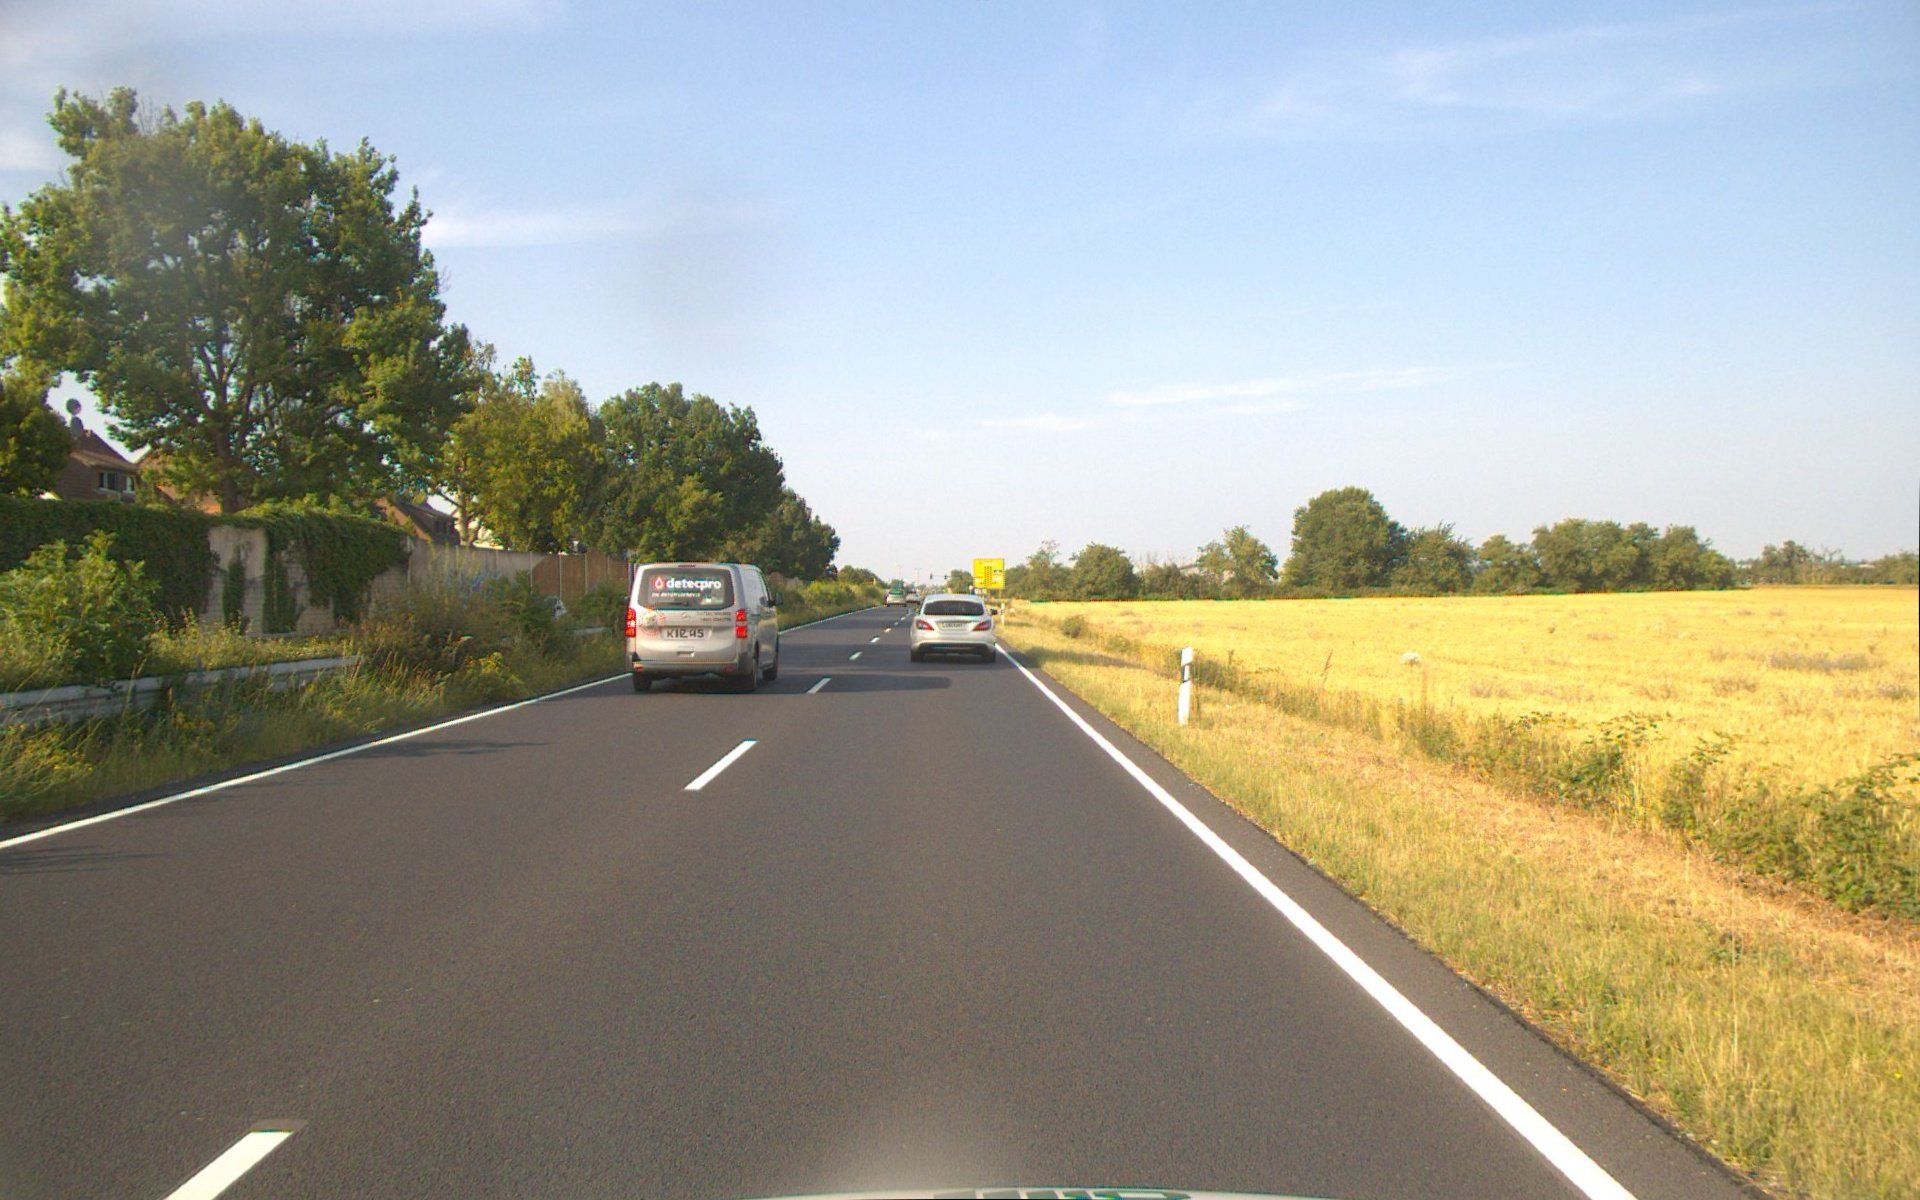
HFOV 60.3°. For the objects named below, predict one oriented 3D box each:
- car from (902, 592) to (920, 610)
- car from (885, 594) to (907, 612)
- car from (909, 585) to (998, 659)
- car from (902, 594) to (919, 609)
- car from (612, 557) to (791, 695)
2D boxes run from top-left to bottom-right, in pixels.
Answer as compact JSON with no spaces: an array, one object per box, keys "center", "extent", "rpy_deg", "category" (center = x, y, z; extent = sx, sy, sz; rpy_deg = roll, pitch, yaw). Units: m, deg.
[{"center":[-4.978,0.106,167.230],"extent":[1.839,1.680,3.662],"rpy_deg":[1,0,-2],"category":"car"},{"center":[-5.452,0.266,140.825],"extent":[1.682,1.518,3.584],"rpy_deg":[1,0,0],"category":"car"},{"center":[-0.160,0.465,36.396],"extent":[1.856,1.535,3.999],"rpy_deg":[0,0,-1],"category":"car"},{"center":[-4.941,0.138,166.447],"extent":[1.607,1.434,3.999],"rpy_deg":[1,0,-1],"category":"car"},{"center":[-3.898,0.348,25.840],"extent":[1.984,1.925,4.958],"rpy_deg":[1,0,0],"category":"car"}]
